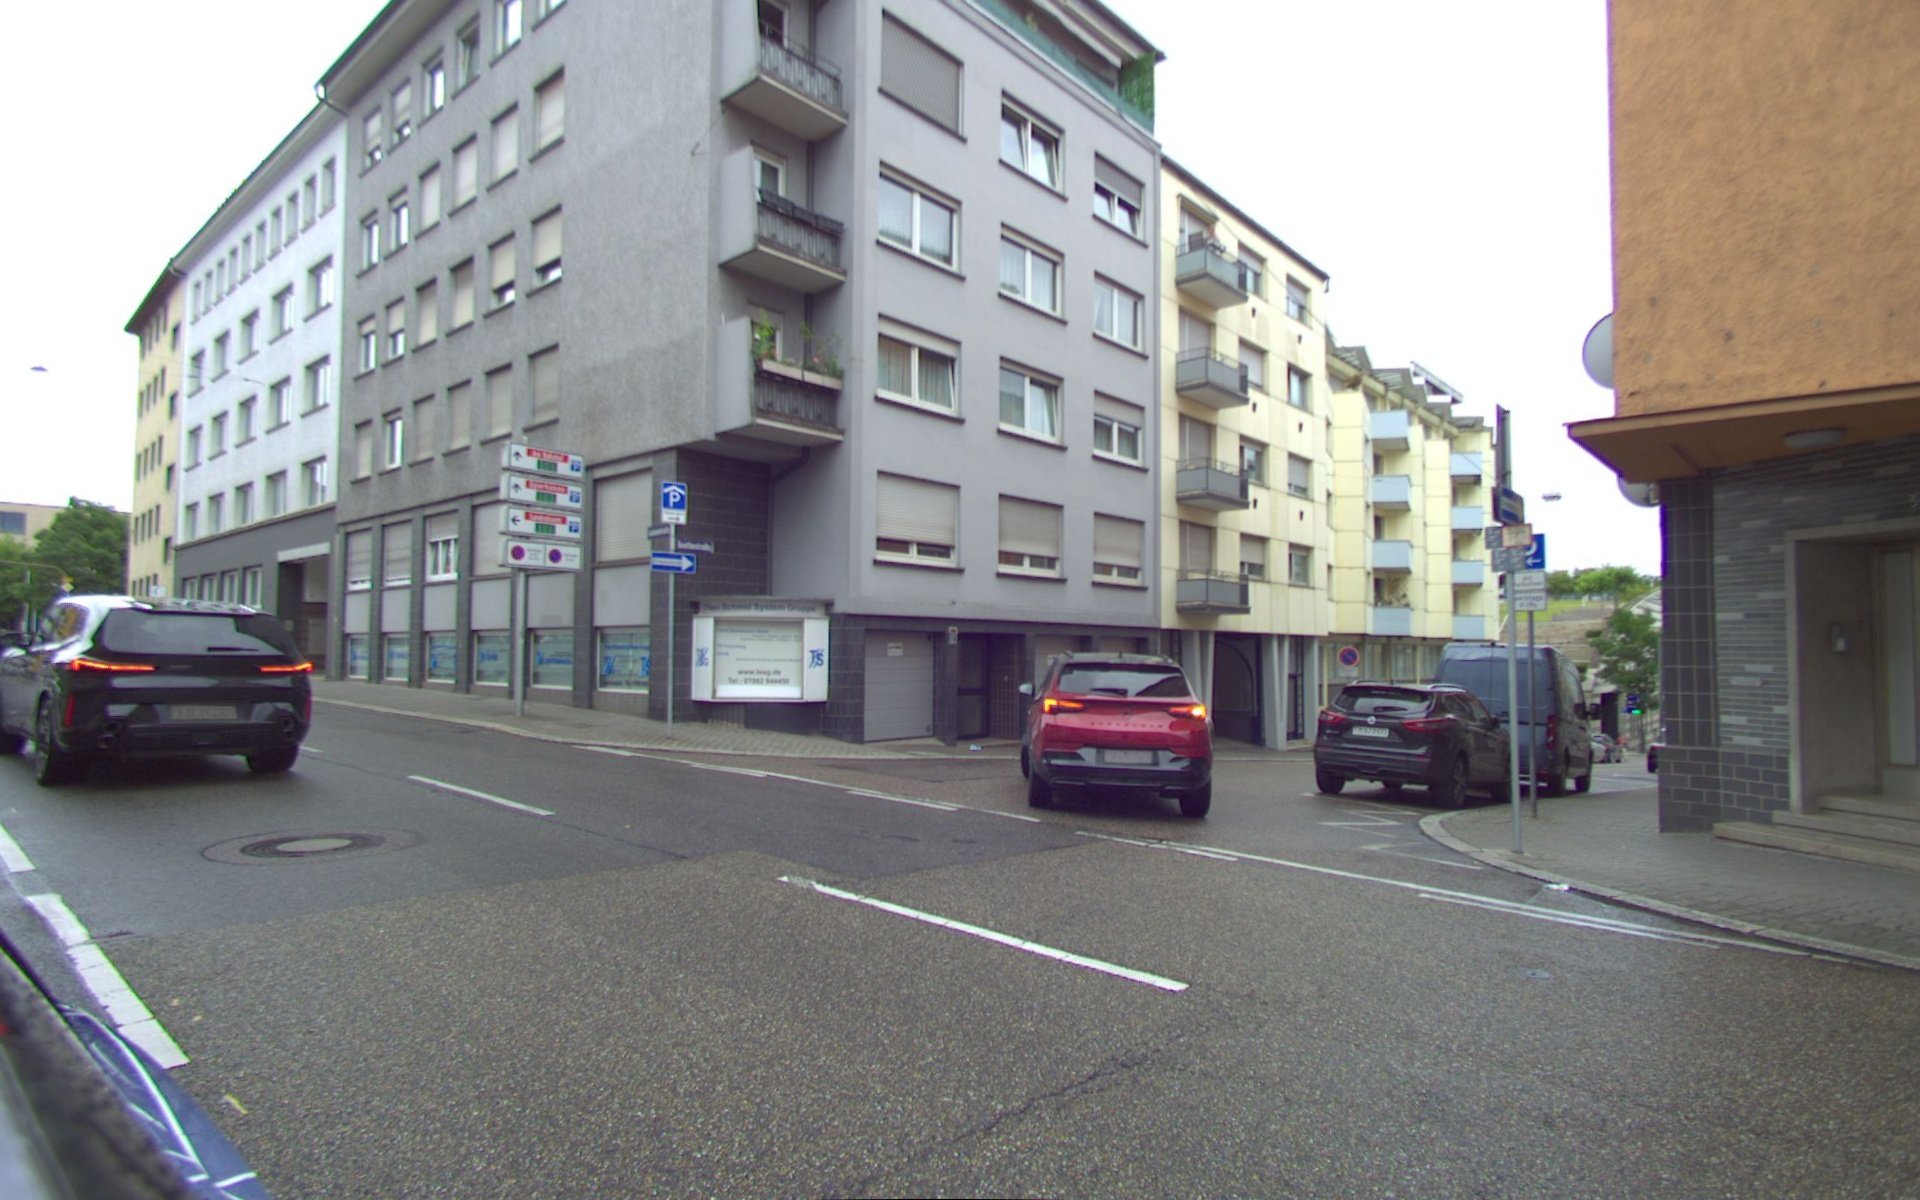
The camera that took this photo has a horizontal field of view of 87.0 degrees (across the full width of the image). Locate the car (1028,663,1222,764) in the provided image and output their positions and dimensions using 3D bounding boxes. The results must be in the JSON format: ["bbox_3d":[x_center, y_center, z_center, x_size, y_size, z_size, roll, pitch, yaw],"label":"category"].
[{"bbox_3d":[3.348,2.273,19.915,1.794,1.700,4.186,-1,-8,41],"label":"car"}]

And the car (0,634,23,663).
[{"bbox_3d":[-52.399,2.544,53.548,1.738,1.519,3.944,-1,-3,42],"label":"car"}]

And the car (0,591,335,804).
[{"bbox_3d":[-8.639,0.898,10.627,4.815,1.734,2.104,-1,-5,41],"label":"car"}]

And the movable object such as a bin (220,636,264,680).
[{"bbox_3d":[-23.170,1.854,32.657,1.096,1.343,0.933,-1,0,41],"label":"movable object such as a bin"}]

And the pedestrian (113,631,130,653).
[{"bbox_3d":[-46.354,2.309,55.939,0.407,1.158,0.575,-2,-6,42],"label":"pedestrian"}]

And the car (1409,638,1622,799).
[{"bbox_3d":[10.486,2.207,18.797,2.249,2.481,5.975,-1,-7,41],"label":"car"}]

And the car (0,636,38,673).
[{"bbox_3d":[-44.094,2.462,46.648,4.371,1.602,1.858,-1,-3,41],"label":"car"}]

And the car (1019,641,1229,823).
[{"bbox_3d":[1.622,1.332,11.392,1.779,1.596,4.312,2,-4,2],"label":"car"}]

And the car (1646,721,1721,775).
[{"bbox_3d":[25.873,5.310,36.154,1.817,1.688,3.998,-1,-8,41],"label":"car"}]

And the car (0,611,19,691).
[{"bbox_3d":[-23.181,1.105,23.155,4.471,1.740,1.817,-1,-5,41],"label":"car"}]

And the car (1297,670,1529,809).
[{"bbox_3d":[6.445,1.946,14.139,1.842,1.589,4.098,-1,-8,41],"label":"car"}]

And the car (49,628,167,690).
[{"bbox_3d":[-22.767,1.545,26.991,4.157,1.519,1.685,-1,-5,41],"label":"car"}]
